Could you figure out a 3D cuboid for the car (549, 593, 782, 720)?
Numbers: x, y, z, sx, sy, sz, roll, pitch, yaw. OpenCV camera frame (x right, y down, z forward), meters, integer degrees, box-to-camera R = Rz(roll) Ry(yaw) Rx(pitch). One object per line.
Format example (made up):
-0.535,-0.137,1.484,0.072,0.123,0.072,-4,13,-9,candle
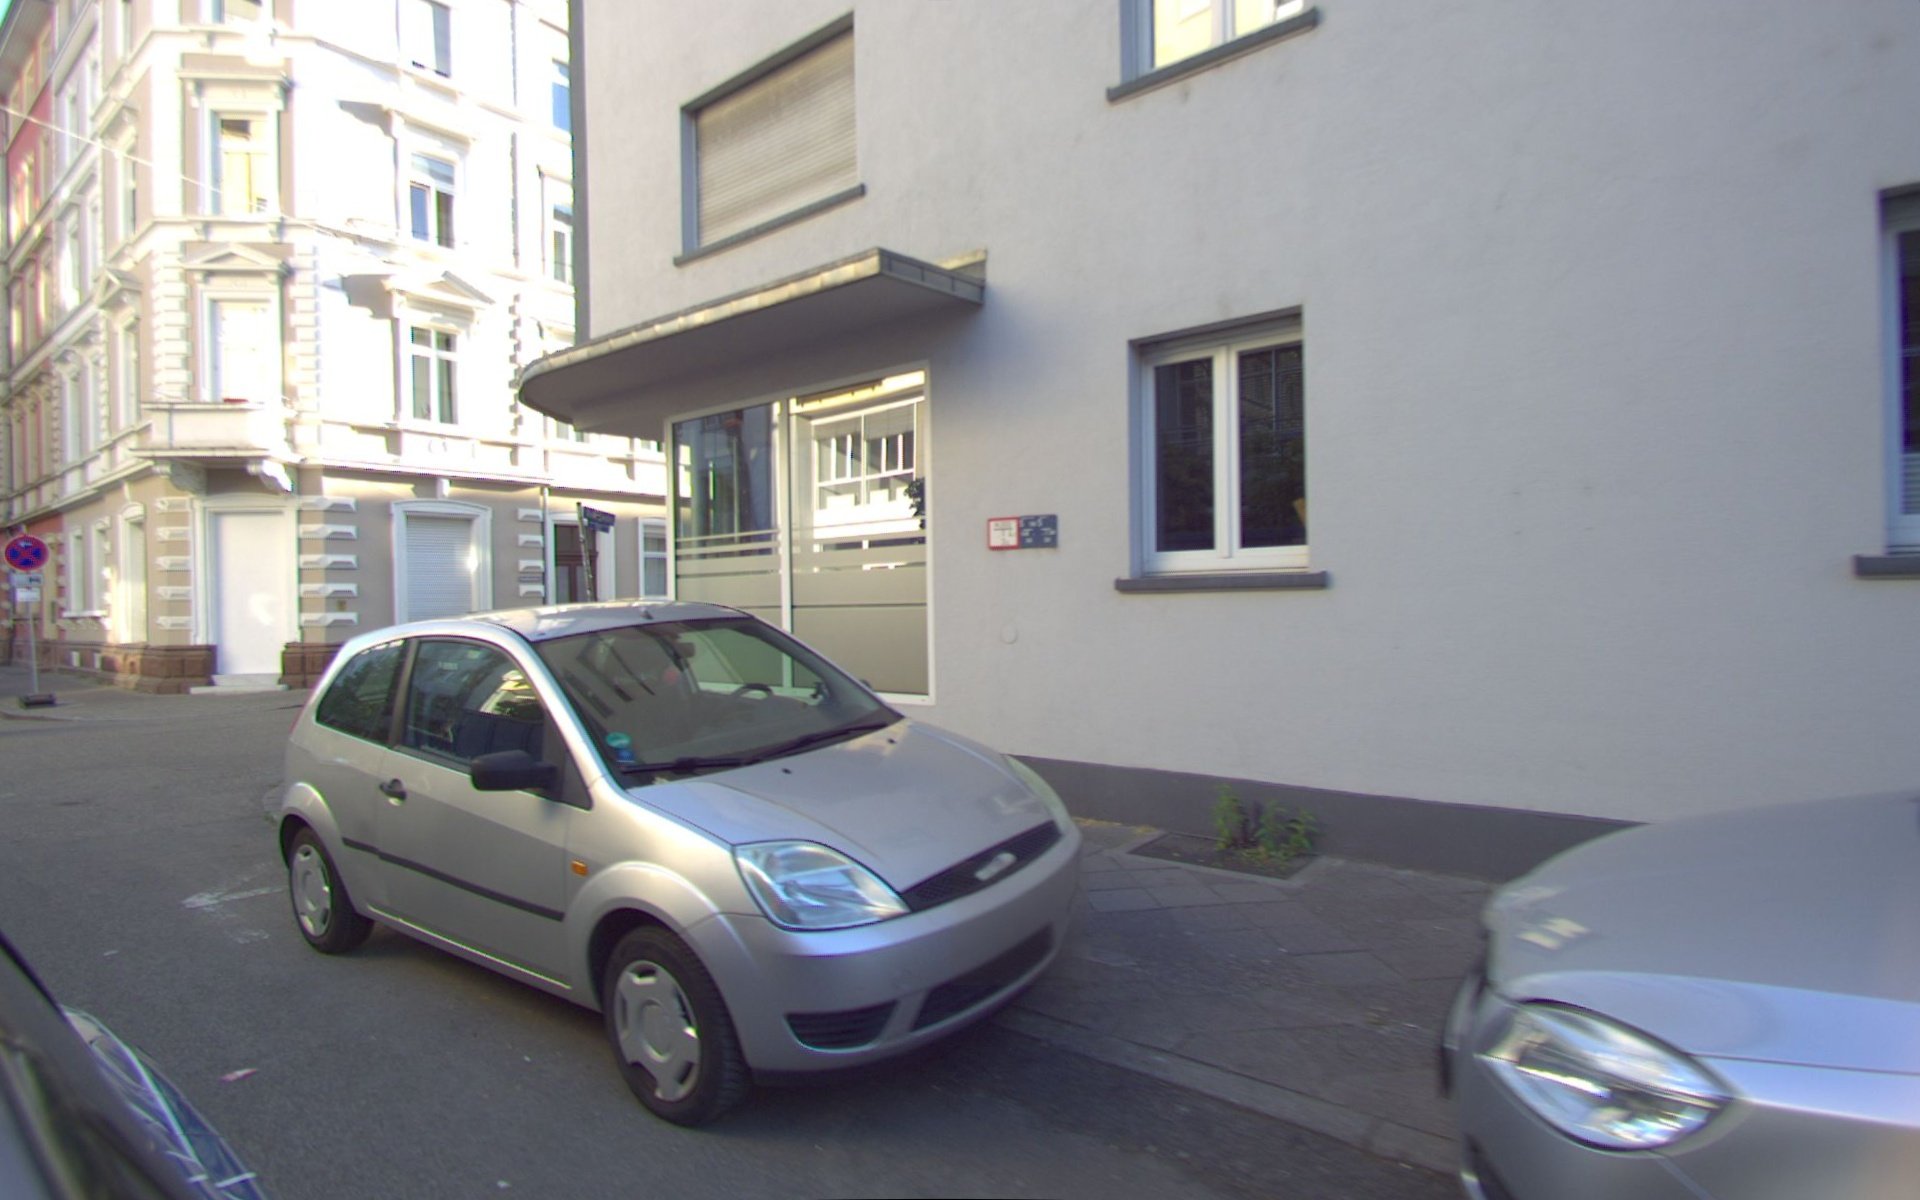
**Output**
-4.155,0.727,14.497,1.647,1.577,2.727,-1,0,39,car

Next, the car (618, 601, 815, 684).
-5.310,0.874,22.517,1.832,1.572,4.043,-1,0,36,car

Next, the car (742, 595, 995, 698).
-1.441,0.707,17.396,1.966,1.464,4.209,-1,0,38,car

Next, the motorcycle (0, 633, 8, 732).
-12.559,1.071,12.063,0.795,1.259,1.698,-4,0,-1,motorcycle

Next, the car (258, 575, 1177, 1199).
-1.145,0.684,3.992,3.549,1.441,1.617,-1,0,37,car

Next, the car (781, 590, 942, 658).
-2.499,0.579,26.530,2.005,1.572,4.043,-1,0,37,car

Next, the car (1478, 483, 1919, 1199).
2.689,0.546,1.050,3.592,1.519,1.541,-1,2,37,car

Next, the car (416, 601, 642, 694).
-7.959,0.809,18.950,1.682,1.490,3.549,-1,0,33,car
